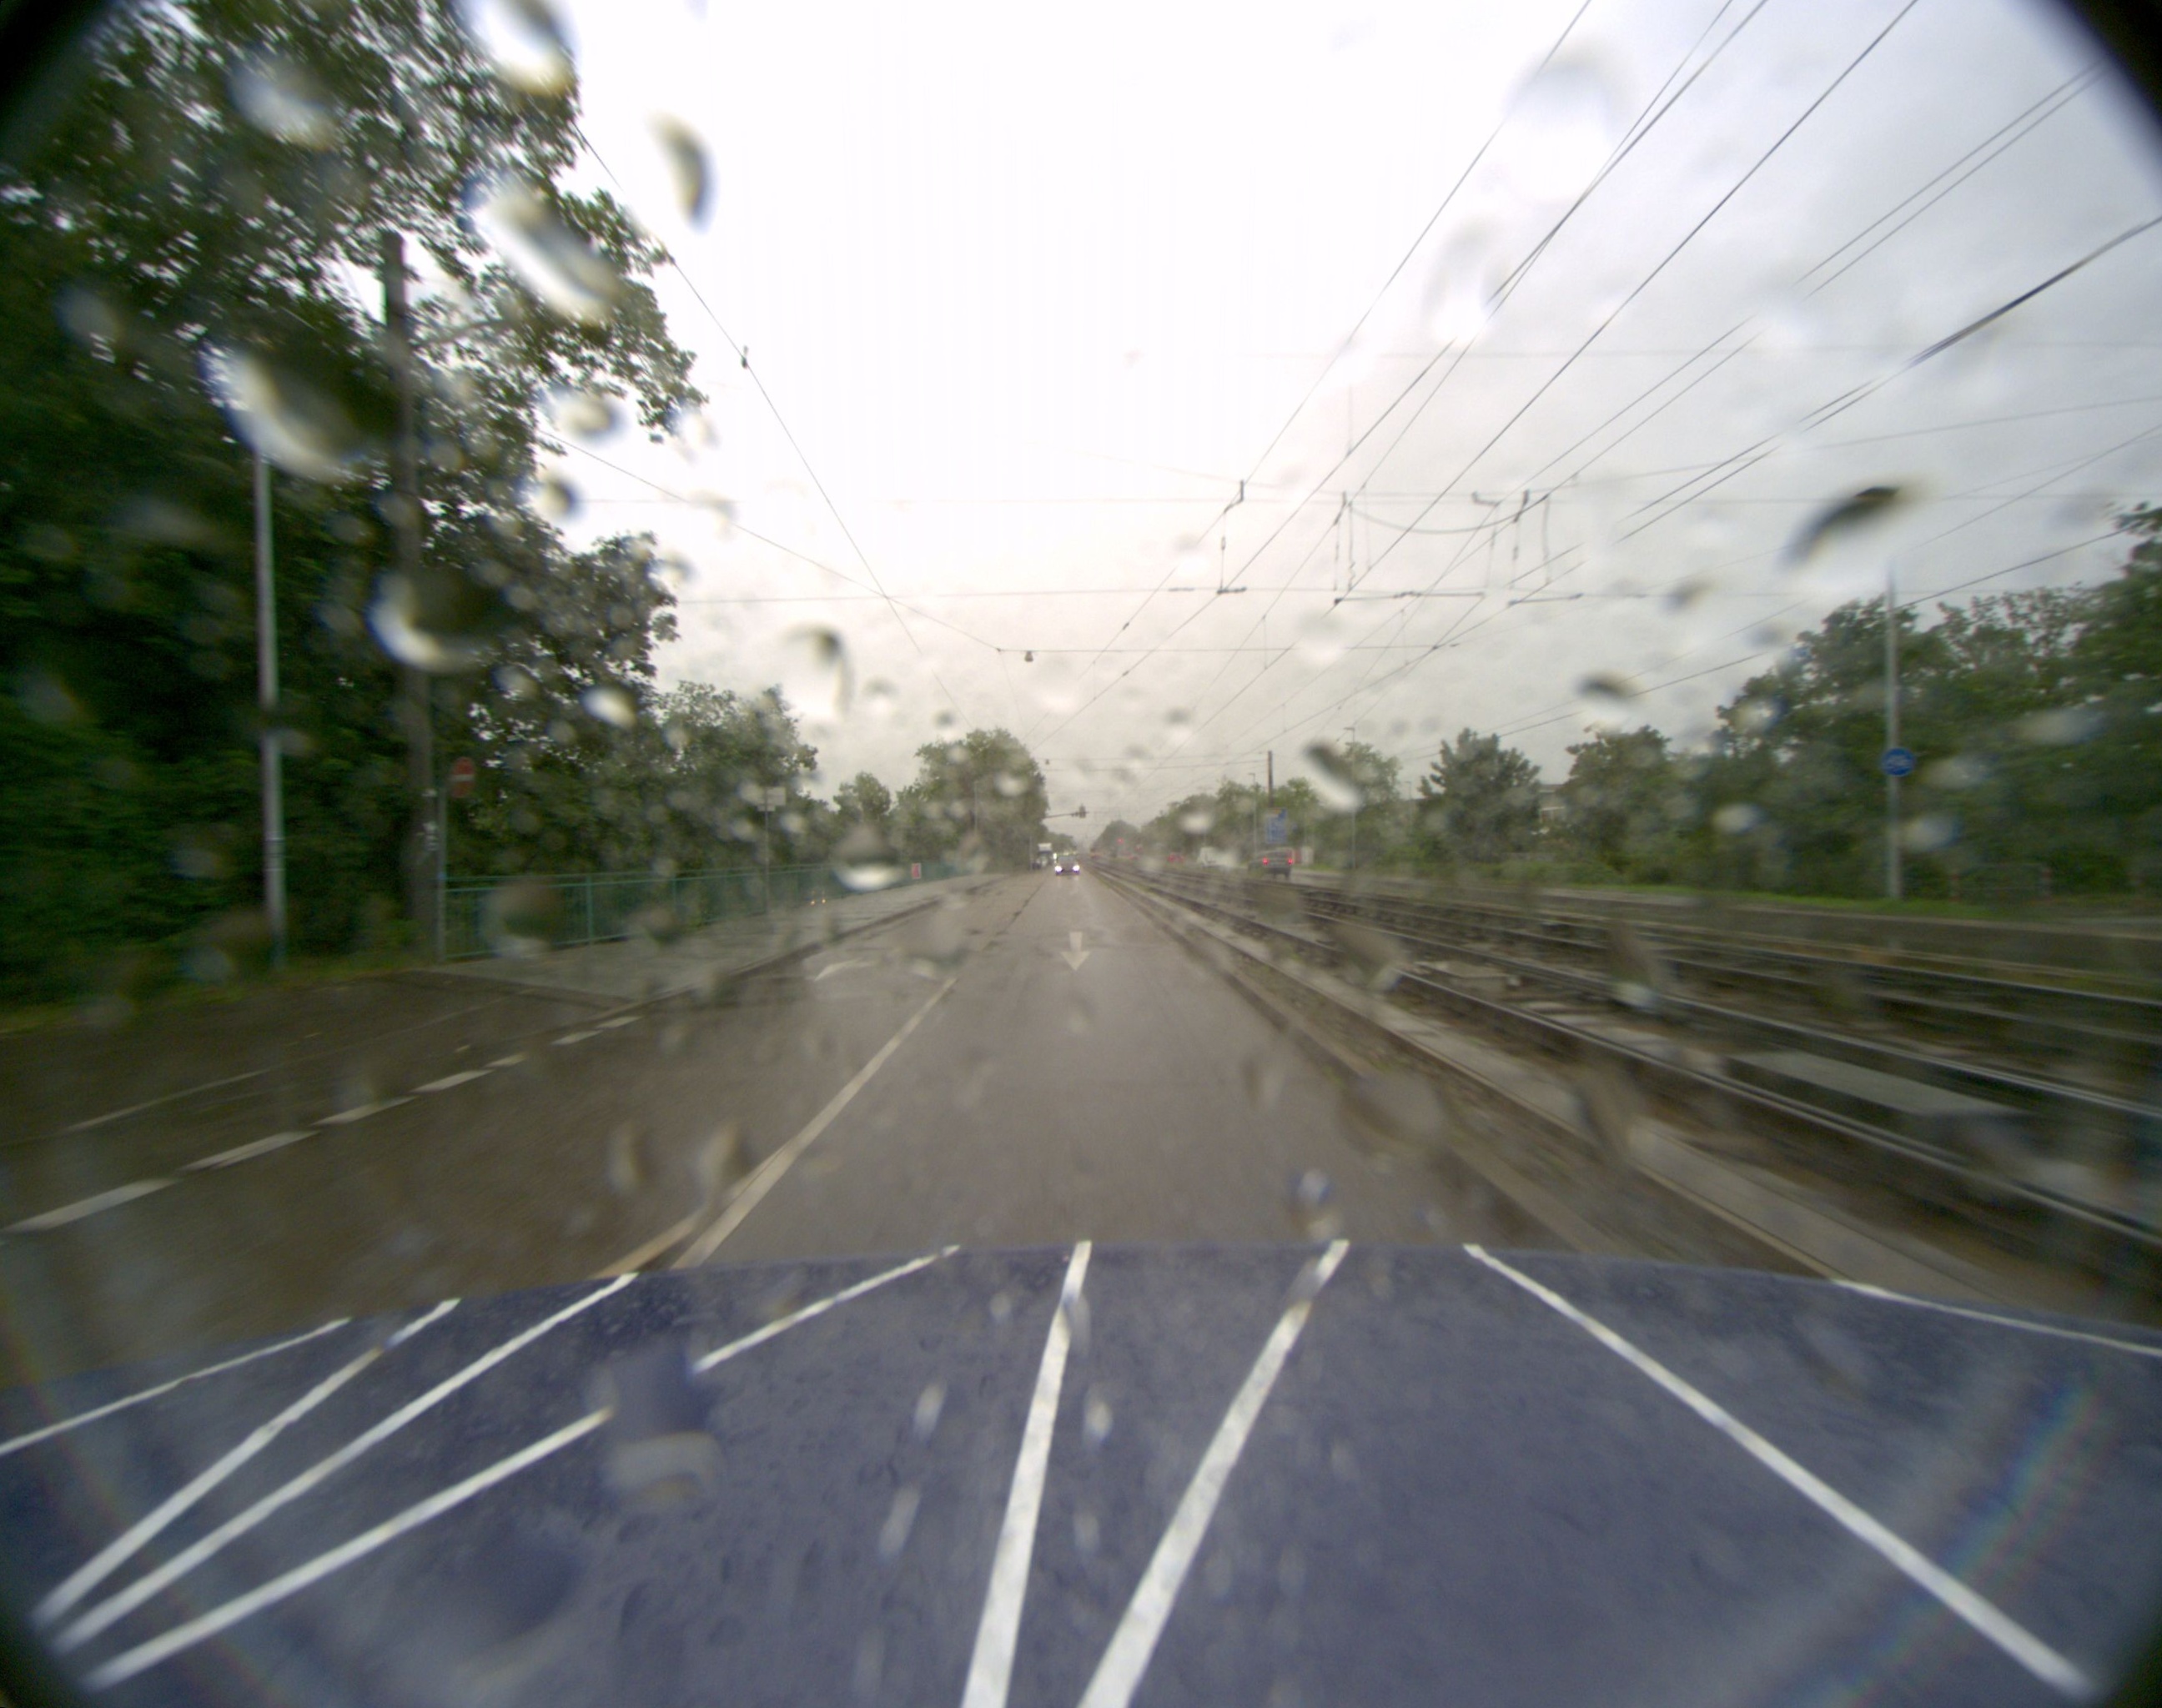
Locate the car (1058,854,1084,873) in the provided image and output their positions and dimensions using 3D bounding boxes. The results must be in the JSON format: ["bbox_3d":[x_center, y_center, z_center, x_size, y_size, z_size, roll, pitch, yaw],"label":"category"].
[{"bbox_3d":[-0.860,0.781,62.959,1.999,1.497,4.196,-3,0,-1],"label":"car"}]

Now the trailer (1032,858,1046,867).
[{"bbox_3d":[-5.063,1.024,92.773,1.547,0.931,3.275,-3,0,-1],"label":"trailer"}]

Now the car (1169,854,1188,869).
[{"bbox_3d":[11.679,0.875,91.454,1.728,1.591,3.650,-3,1,-1],"label":"car"}]

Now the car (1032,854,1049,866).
[{"bbox_3d":[-5.217,0.811,98.876,1.999,1.394,4.196,-3,0,-1],"label":"car"}]

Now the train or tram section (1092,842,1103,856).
[{"bbox_3d":[4.681,-1.430,215.984,2.460,3.603,15.102,-3,1,-1],"label":"train or tram section"}]

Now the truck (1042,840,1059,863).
[{"bbox_3d":[-5.413,-0.393,134.537,2.567,3.847,7.845,-3,0,-1],"label":"truck"}]

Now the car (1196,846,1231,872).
[{"bbox_3d":[11.493,0.408,66.276,1.999,2.032,5.027,-3,0,-1],"label":"car"}]

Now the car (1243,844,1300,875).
[{"bbox_3d":[11.492,0.300,46.213,1.999,1.639,5.370,-3,0,-1],"label":"car"}]
